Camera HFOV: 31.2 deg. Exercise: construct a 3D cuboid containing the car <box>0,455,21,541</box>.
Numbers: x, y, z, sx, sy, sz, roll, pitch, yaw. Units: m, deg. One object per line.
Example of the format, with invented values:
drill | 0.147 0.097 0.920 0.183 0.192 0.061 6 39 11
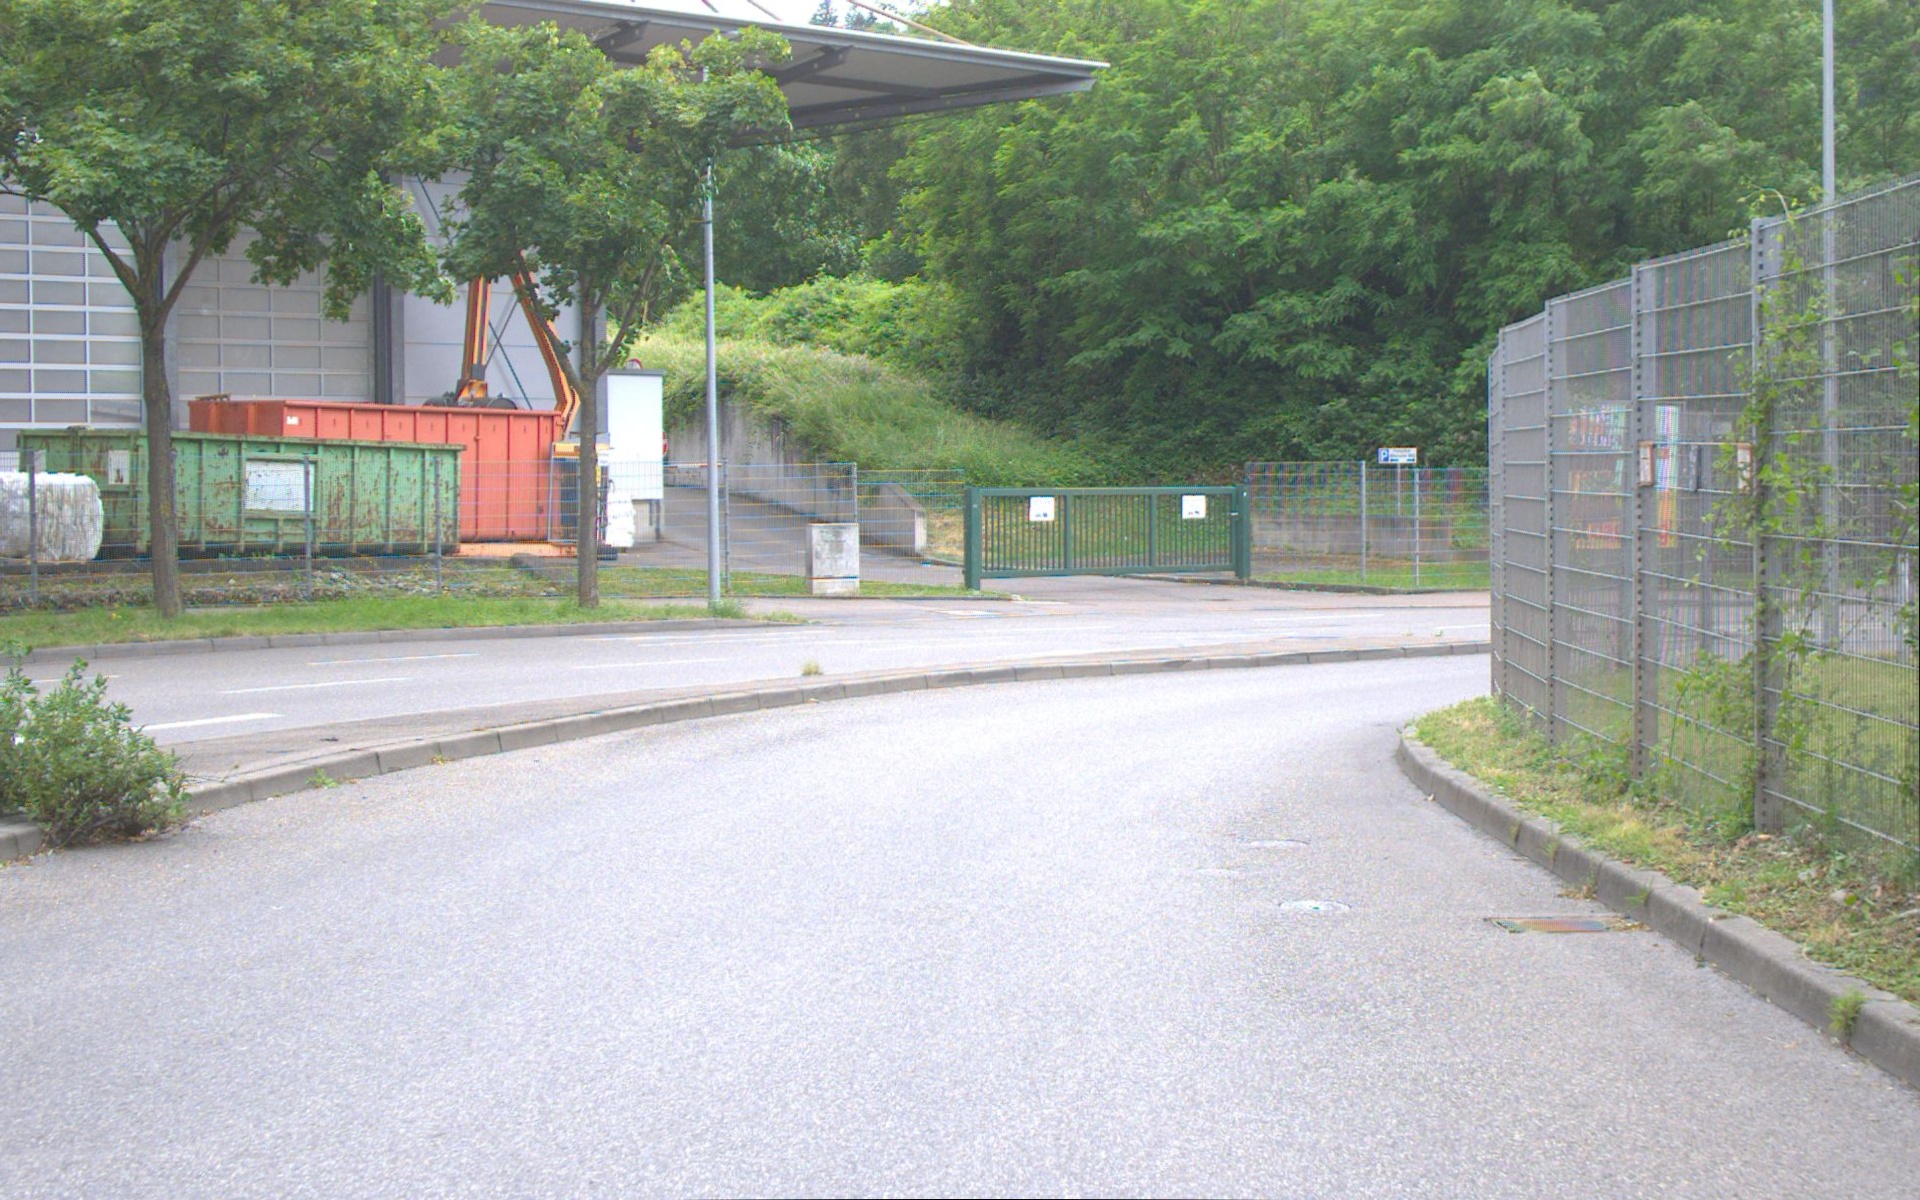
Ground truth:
car | -17.033 -1.615 54.221 1.737 1.369 3.990 2 2 42
